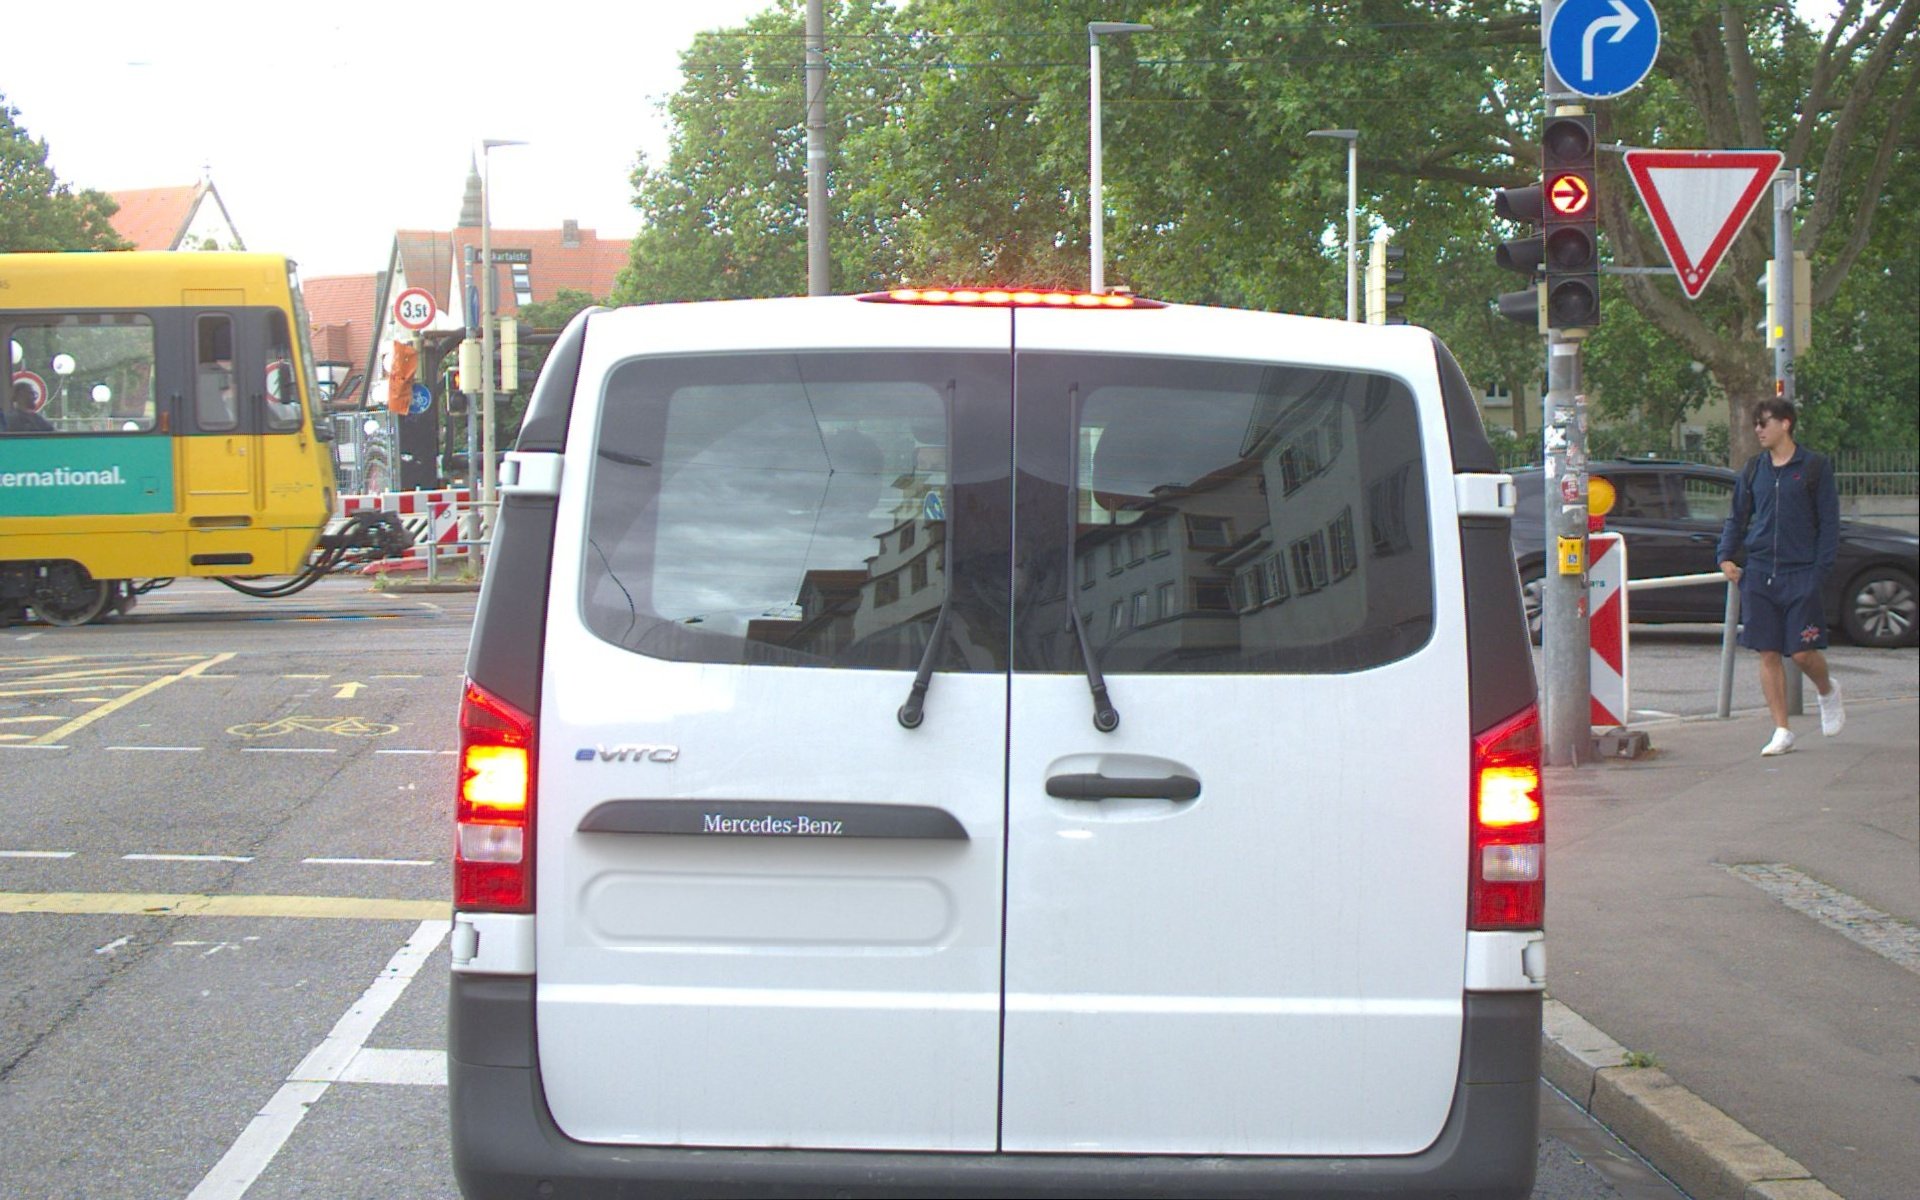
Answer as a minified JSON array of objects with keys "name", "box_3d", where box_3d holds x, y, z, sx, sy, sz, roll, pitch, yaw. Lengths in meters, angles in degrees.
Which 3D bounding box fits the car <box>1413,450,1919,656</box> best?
[{"name":"car","box_3d":[5.889,-0.406,27.593,4.272,1.569,1.871,0,3,1]}]

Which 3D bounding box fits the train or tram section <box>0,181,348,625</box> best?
[{"name":"train or tram section","box_3d":[-15.222,-1.667,31.469,18.765,3.988,3.267,-2,4,-11]}]

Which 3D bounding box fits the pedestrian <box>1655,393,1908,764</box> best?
[{"name":"pedestrian","box_3d":[4.273,-0.130,17.866,1.150,1.850,0.679,-3,2,-39]}]

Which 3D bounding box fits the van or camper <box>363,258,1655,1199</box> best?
[{"name":"van or camper","box_3d":[-0.065,0.350,7.432,1.937,1.918,4.442,1,3,-4]}]
